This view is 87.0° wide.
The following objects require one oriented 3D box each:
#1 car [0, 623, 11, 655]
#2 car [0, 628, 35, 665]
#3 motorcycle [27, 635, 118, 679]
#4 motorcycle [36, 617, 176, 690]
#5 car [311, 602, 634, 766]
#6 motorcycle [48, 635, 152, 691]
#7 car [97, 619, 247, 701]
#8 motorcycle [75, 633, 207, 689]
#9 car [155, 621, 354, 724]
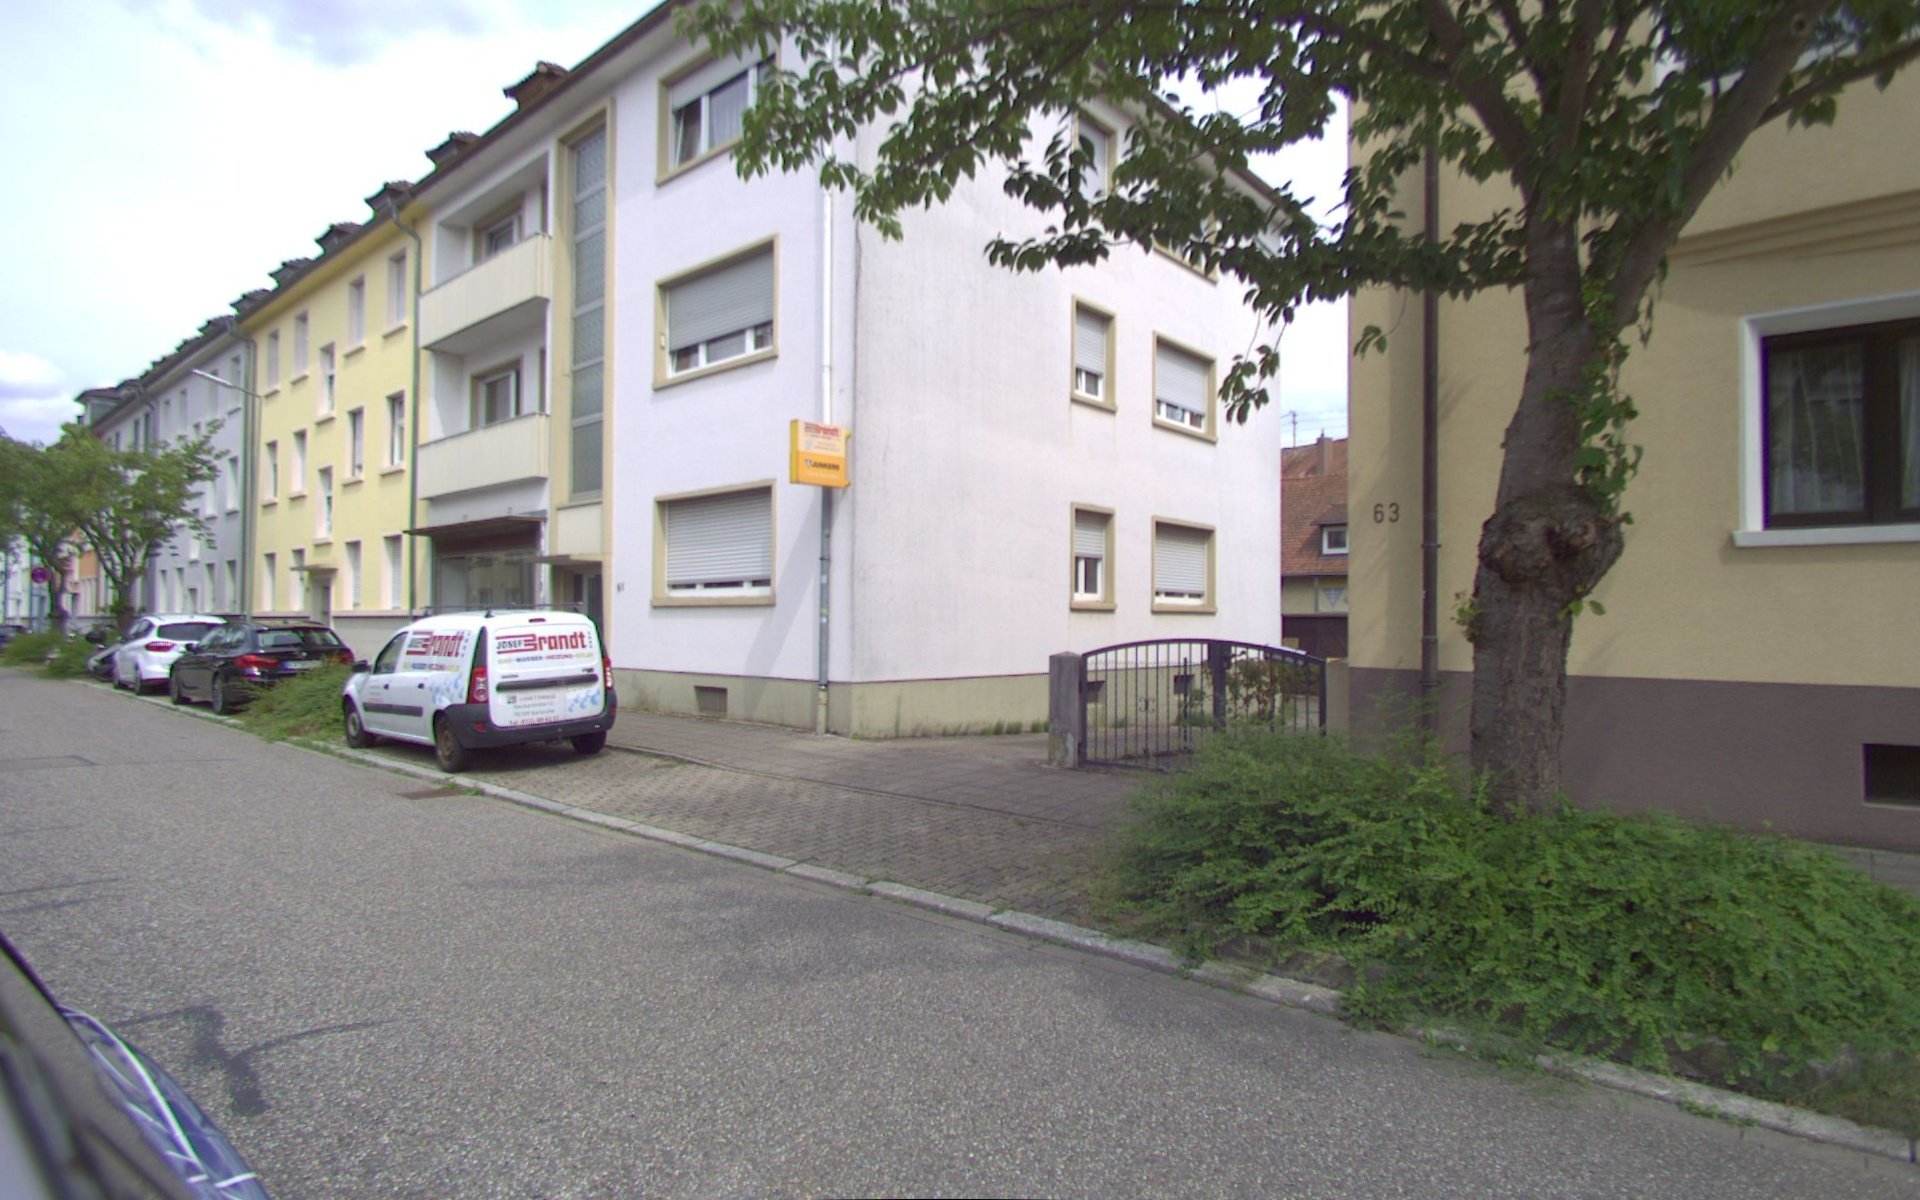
[{"bbox_3d":[-47.071,1.847,48.546,4.090,1.495,1.818,-1,-1,40],"label":"car"},{"bbox_3d":[-42.222,2.021,44.421,4.117,1.495,1.818,-1,1,40],"label":"car"},{"bbox_3d":[-25.493,1.635,29.114,0.591,1.201,1.902,1,-3,15],"label":"motorcycle"},{"bbox_3d":[-20.218,1.262,23.999,2.438,1.689,0.939,0,-3,-1],"label":"motorcycle"},{"bbox_3d":[-5.896,0.899,12.004,4.381,1.593,1.898,-1,-4,42],"label":"car"},{"bbox_3d":[-24.086,1.761,28.412,0.591,1.493,2.228,1,-3,15],"label":"motorcycle"},{"bbox_3d":[-16.827,1.213,21.549,4.254,1.568,1.738,-1,-3,42],"label":"car"},{"bbox_3d":[-20.411,1.535,25.296,2.414,1.321,0.645,3,-3,-23],"label":"motorcycle"},{"bbox_3d":[-12.249,1.125,17.430,4.811,1.503,1.771,-1,-1,42],"label":"car"}]
